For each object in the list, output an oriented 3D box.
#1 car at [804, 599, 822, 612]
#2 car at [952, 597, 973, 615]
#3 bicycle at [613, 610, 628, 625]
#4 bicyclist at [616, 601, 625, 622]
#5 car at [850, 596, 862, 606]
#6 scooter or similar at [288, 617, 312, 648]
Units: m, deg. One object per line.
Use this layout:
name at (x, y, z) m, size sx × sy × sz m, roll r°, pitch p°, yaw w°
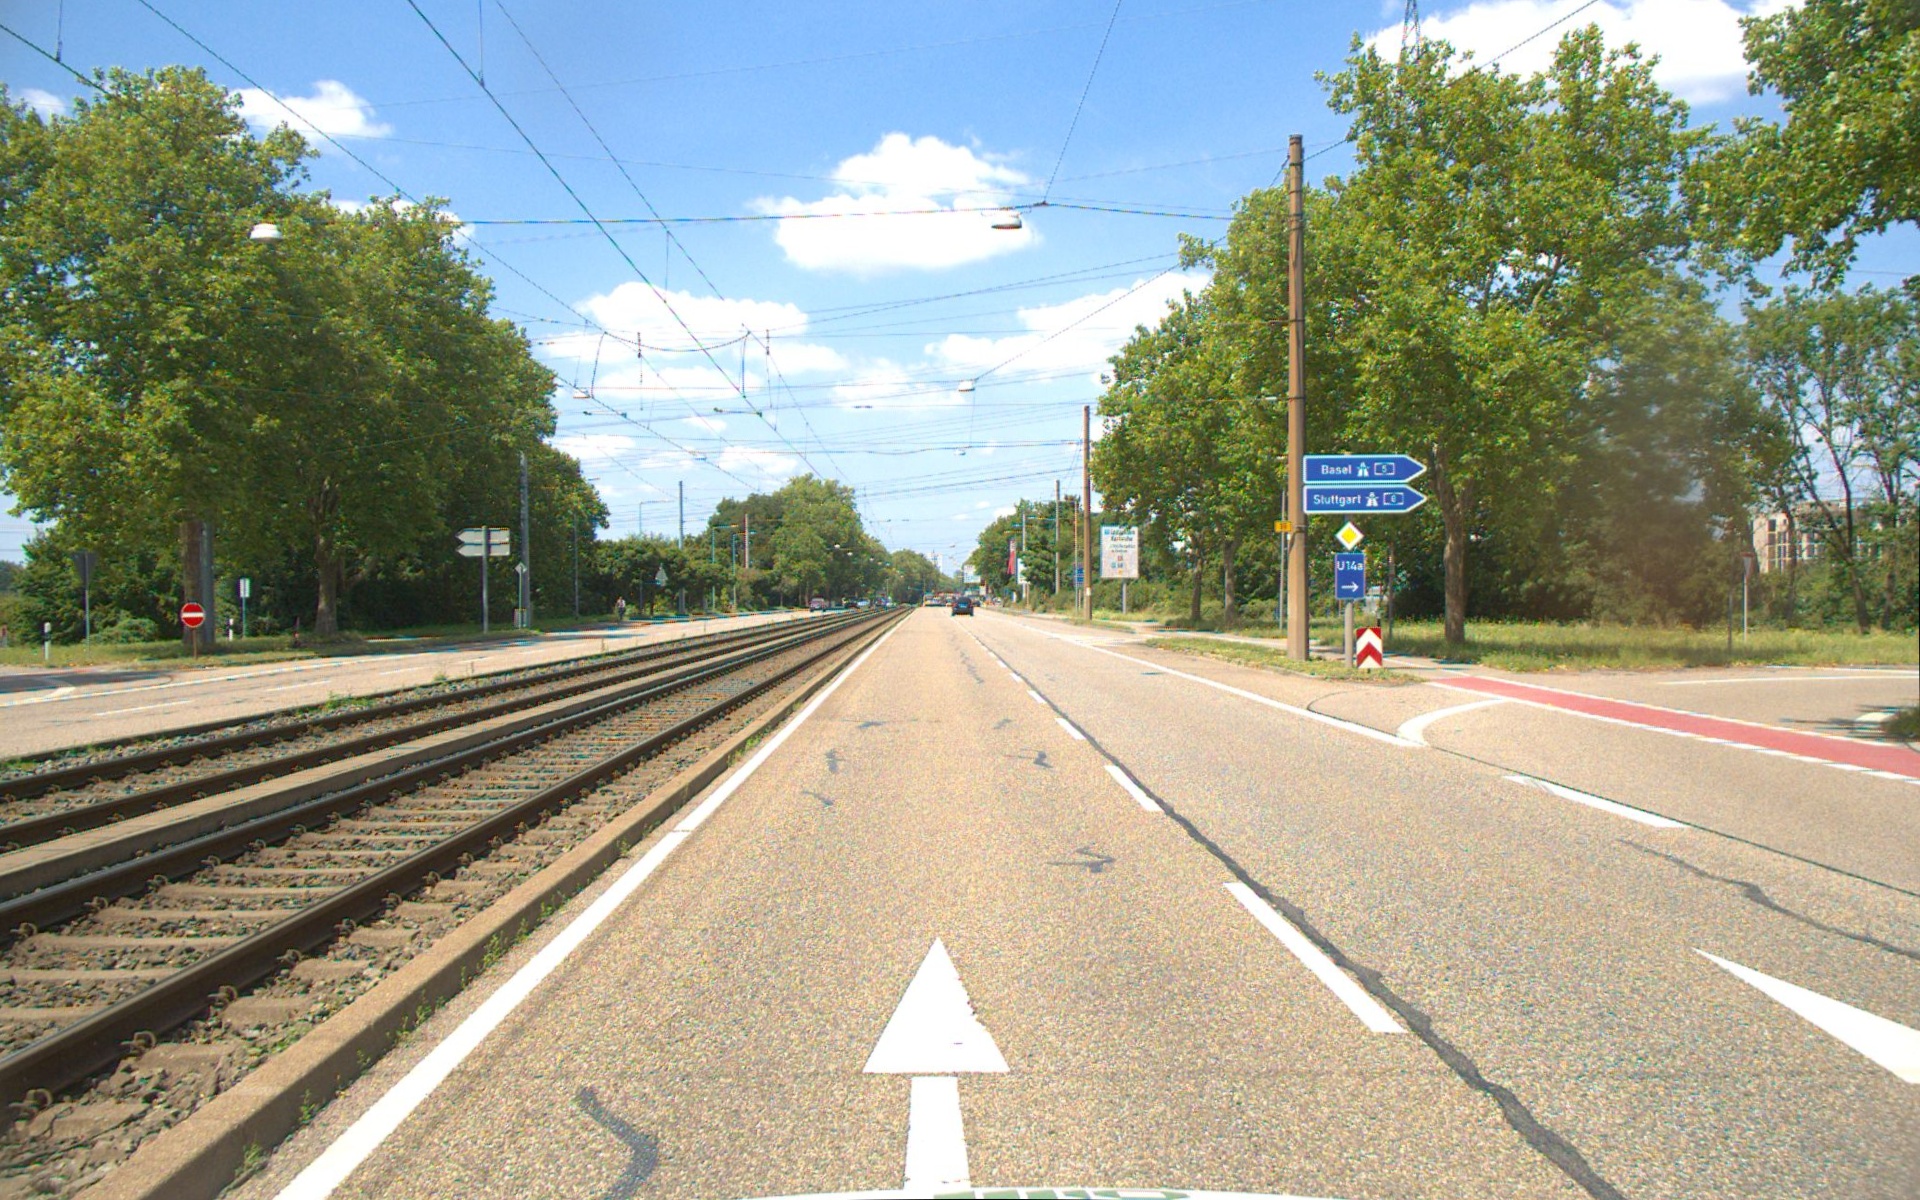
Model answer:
car at (-17.368, 0.637, 195.485) m, size 1.837 × 1.355 × 3.917 m, roll -2°, pitch 0°, yaw -1°
car at (0.175, 0.496, 134.674) m, size 1.554 × 1.366 × 3.271 m, roll -1°, pitch 1°, yaw -3°
bicycle at (-21.487, 1.103, 104.737) m, size 0.505 × 0.872 × 1.932 m, roll -1°, pitch 0°, yaw 2°
bicyclist at (-21.496, 0.727, 104.673) m, size 0.445 × 1.295 × 0.398 m, roll 0°, pitch 0°, yaw 1°
car at (-15.536, 0.200, 246.857) m, size 1.681 × 1.453 × 3.900 m, roll 0°, pitch 0°, yaw -1°
scooter or similar at (-22.943, 1.131, 57.499) m, size 0.292 × 1.040 × 0.997 m, roll 2°, pitch 0°, yaw 6°
